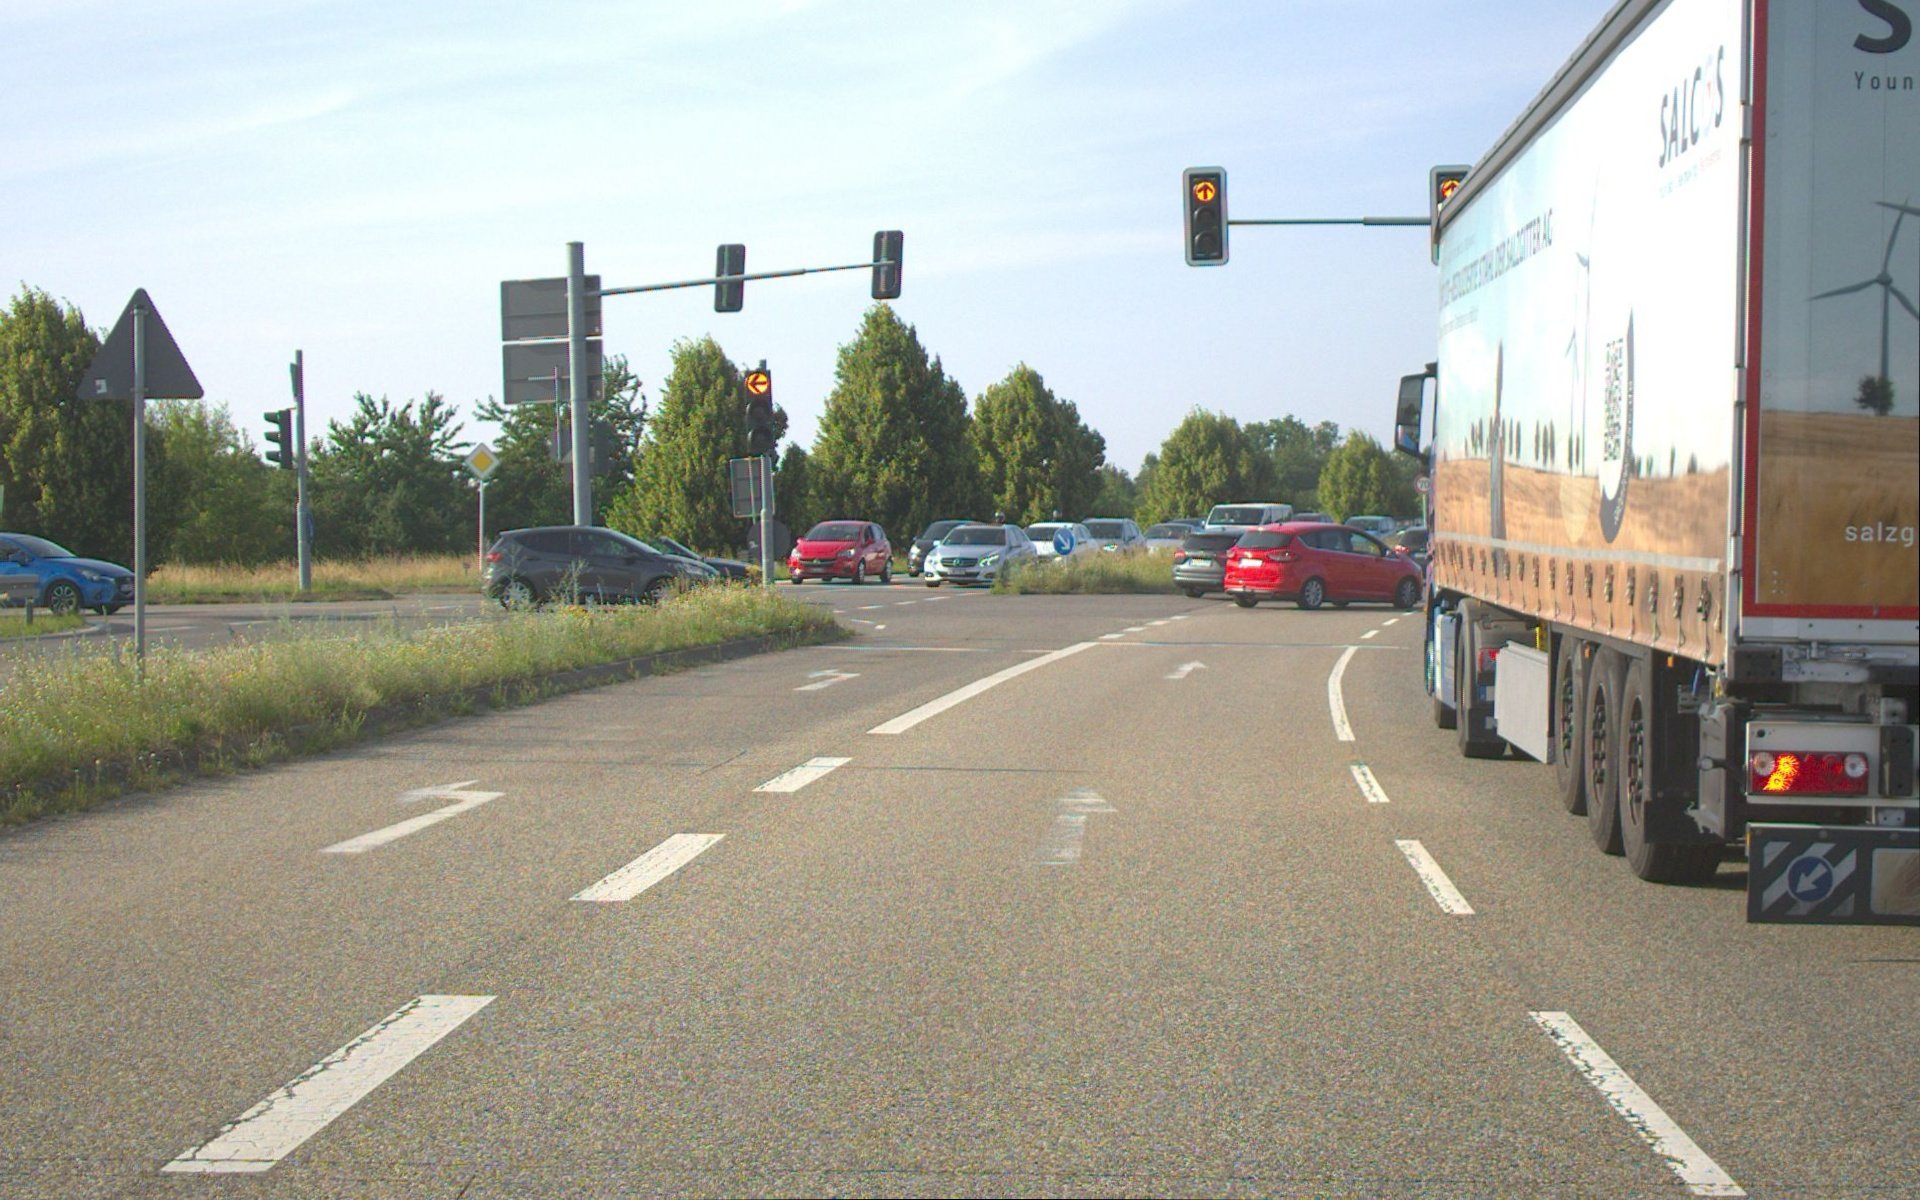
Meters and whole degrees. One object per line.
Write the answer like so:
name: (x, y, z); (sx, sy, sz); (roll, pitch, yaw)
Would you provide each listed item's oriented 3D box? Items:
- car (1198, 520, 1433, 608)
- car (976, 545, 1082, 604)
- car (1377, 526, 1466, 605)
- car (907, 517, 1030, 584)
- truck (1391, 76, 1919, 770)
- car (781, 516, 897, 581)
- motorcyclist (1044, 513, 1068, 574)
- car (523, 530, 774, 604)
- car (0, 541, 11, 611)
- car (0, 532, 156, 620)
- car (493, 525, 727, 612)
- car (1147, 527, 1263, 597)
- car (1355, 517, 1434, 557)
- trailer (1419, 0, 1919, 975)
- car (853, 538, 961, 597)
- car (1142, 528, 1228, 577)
car: (6.657, -0.654, 64.144); (4.265, 1.559, 1.901); (1, 0, -39)
car: (1.762, -0.664, 86.565); (1.787, 1.428, 4.306); (0, 1, 13)
car: (11.518, -0.830, 85.644); (1.910, 1.909, 4.276); (1, 0, 11)
car: (0.230, -1.143, 79.015); (1.787, 1.483, 4.648); (0, 1, 13)
truck: (5.085, -1.243, 25.984); (3.300, 4.641, 5.731); (1, 1, 4)
car: (-2.840, -1.229, 81.536); (1.722, 1.483, 3.802); (0, 1, 14)
motorcyclist: (2.880, -1.694, 102.882); (0.662, 1.810, 0.605); (0, 1, 6)
car: (-5.740, -0.602, 63.635); (4.266, 1.318, 1.914); (1, 0, 10)
car: (-21.971, -0.508, 73.062); (3.183, 1.487, 1.779); (-1, 1, -28)
car: (-16.166, -0.432, 59.568); (3.974, 1.487, 1.778); (0, 1, 11)
car: (-5.907, -0.533, 58.390); (3.783, 1.411, 1.921); (1, 0, -1)
car: (5.059, -0.767, 70.532); (1.837, 1.372, 4.276); (1, 0, 11)
car: (15.584, -2.257, 123.275); (1.788, 1.381, 4.047); (0, 1, 23)
trailer: (4.541, -1.137, 18.490); (3.282, 4.665, 13.146); (1, 1, 4)
car: (-1.326, -0.843, 87.726); (1.787, 1.428, 4.049); (0, 1, 13)
car: (6.453, -1.369, 98.243); (1.787, 1.381, 4.049); (0, 1, 13)
